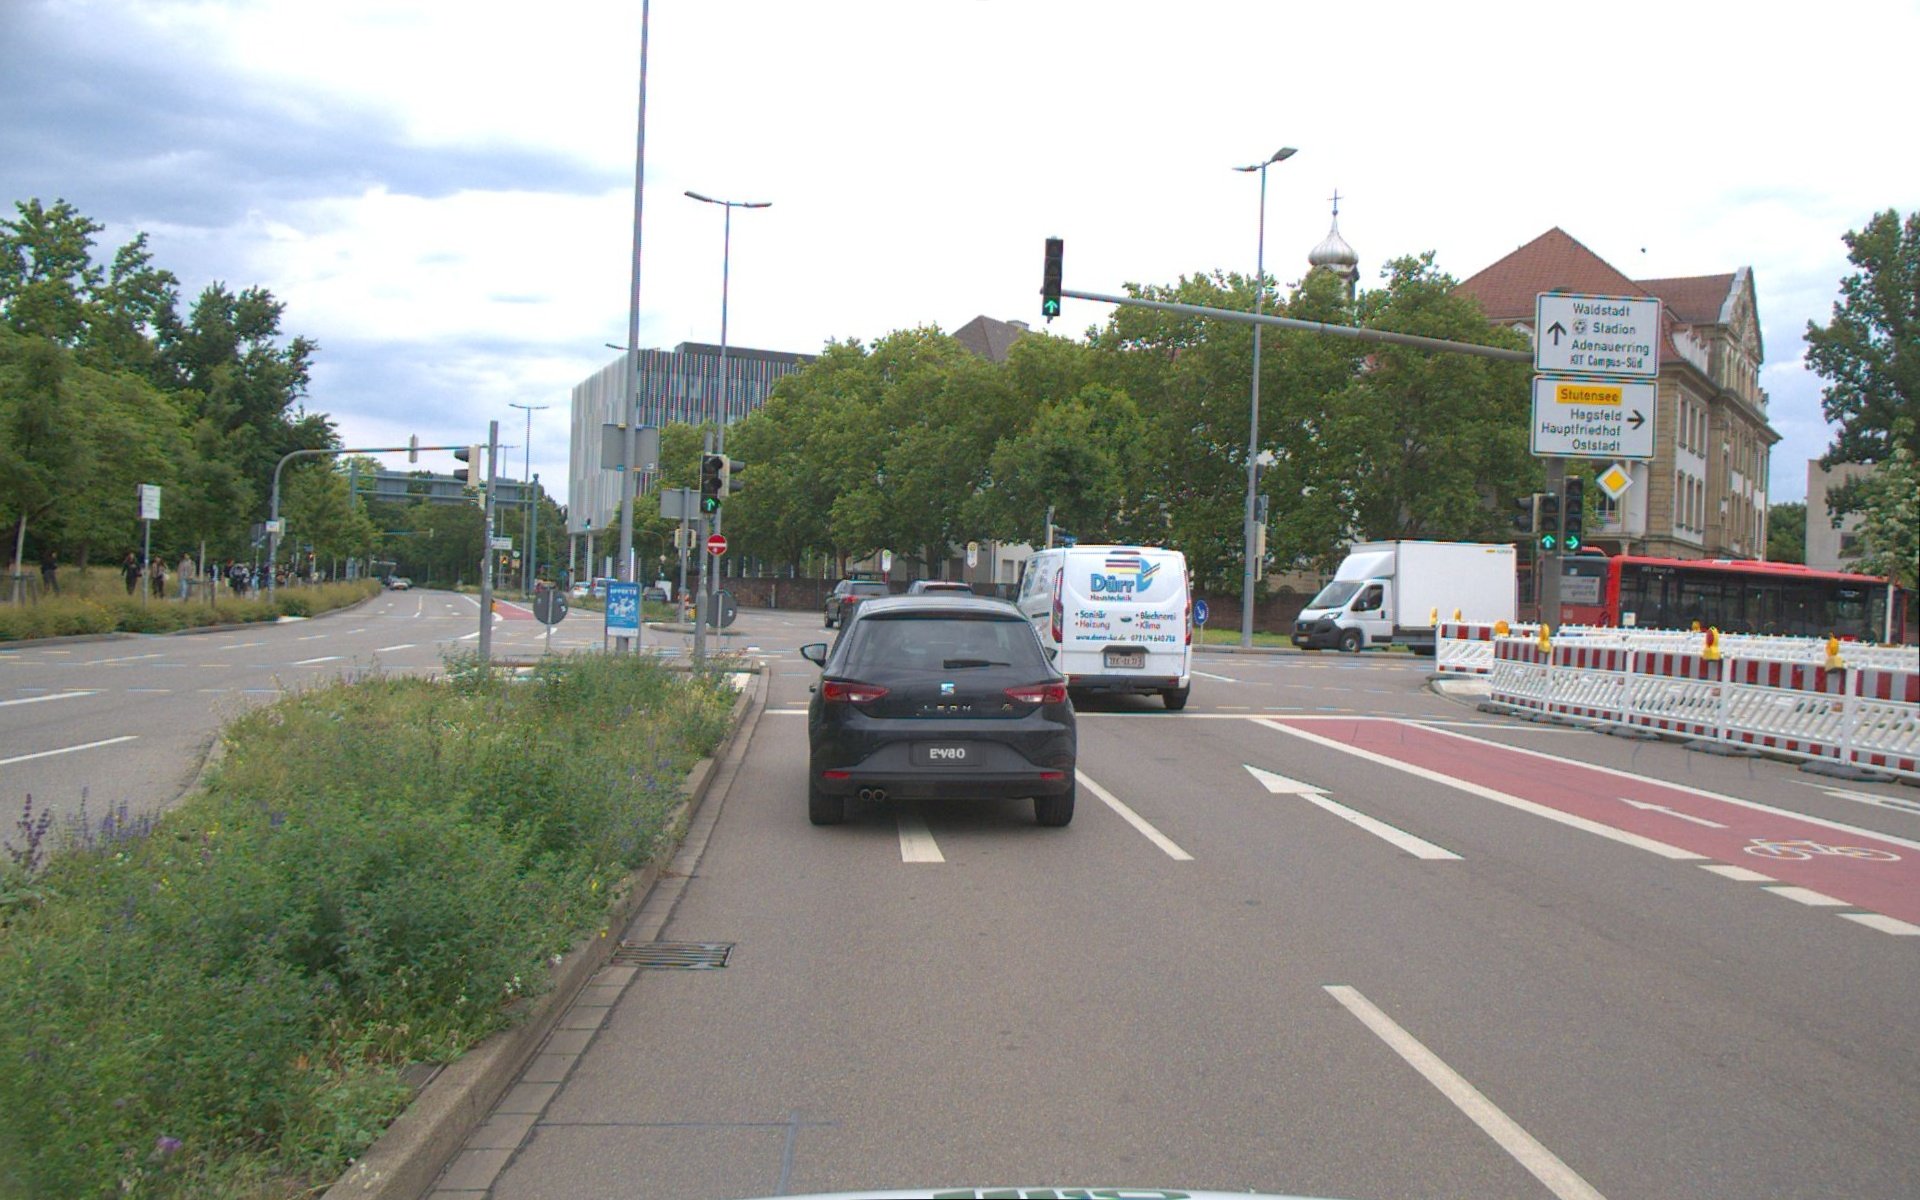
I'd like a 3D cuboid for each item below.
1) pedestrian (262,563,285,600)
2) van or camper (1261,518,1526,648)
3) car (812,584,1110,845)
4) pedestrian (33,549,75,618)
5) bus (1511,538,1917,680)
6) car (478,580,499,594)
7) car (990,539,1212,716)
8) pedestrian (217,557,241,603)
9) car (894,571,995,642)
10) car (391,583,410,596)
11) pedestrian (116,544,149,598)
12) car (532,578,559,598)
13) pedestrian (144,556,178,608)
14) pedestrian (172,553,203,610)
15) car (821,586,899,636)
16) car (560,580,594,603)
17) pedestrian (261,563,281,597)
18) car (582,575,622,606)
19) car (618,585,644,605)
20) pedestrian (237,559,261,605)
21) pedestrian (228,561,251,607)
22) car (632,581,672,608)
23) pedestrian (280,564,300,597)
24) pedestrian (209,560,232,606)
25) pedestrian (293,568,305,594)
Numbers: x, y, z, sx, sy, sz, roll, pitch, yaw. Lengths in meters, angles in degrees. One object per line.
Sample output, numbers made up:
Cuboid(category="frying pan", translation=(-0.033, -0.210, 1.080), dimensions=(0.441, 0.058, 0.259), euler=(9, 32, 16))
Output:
Cuboid(category="pedestrian", translation=(-34.803, -0.945, 83.848), dimensions=(0.904, 1.810, 1.059), euler=(2, 0, -18))
Cuboid(category="van or camper", translation=(12.375, -0.410, 47.157), dimensions=(7.029, 3.390, 2.857), euler=(1, -1, -22))
Cuboid(category="car", translation=(-0.163, 0.692, 11.695), dimensions=(1.712, 1.490, 3.995), euler=(2, -1, -5))
Cuboid(category="pedestrian", translation=(-27.398, -0.485, 50.028), dimensions=(0.741, 2.049, 1.045), euler=(1, 0, -9))
Cuboid(category="bus", translation=(20.386, 0.330, 44.308), dimensions=(12.194, 3.355, 3.041), euler=(2, 0, -28))
Cuboid(category="car", translation=(-46.591, -1.270, 163.382), dimensions=(1.687, 1.287, 3.319), euler=(2, 0, -21))
Cuboid(category="car", translation=(1.730, 0.310, 22.180), dimensions=(1.955, 2.054, 5.024), euler=(2, 0, -7))
Cuboid(category="pedestrian", translation=(-32.818, -0.900, 74.275), dimensions=(0.742, 2.049, 1.043), euler=(1, 0, -13))
Cuboid(category="car", translation=(-0.441, 0.135, 41.065), dimensions=(1.824, 1.628, 4.195), euler=(2, 0, -10))
Cuboid(category="car", translation=(-64.829, -1.193, 191.593), dimensions=(1.665, 1.440, 3.614), euler=(2, 0, -25))
Cuboid(category="pedestrian", translation=(-28.162, -0.985, 56.306), dimensions=(0.741, 1.796, 0.904), euler=(1, 0, -9))
Cuboid(category="car", translation=(-37.641, -1.079, 150.130), dimensions=(1.965, 1.711, 3.987), euler=(2, 0, -20))
Cuboid(category="pedestrian", translation=(-27.405, -0.615, 56.740), dimensions=(0.741, 1.742, 1.045), euler=(1, 0, -9))
Cuboid(category="pedestrian", translation=(-28.058, -0.663, 60.084), dimensions=(0.741, 2.049, 1.045), euler=(1, 0, -9))
Cuboid(category="car", translation=(-3.467, 0.355, 56.648), dimensions=(1.959, 1.593, 4.191), euler=(2, 0, -13))
Cuboid(category="car", translation=(-29.300, -0.667, 126.562), dimensions=(1.965, 1.668, 3.976), euler=(2, 0, -21))
Cuboid(category="pedestrian", translation=(-38.973, -1.143, 93.553), dimensions=(0.904, 1.809, 1.060), euler=(2, 4, -17))
Cuboid(category="car", translation=(-24.978, -0.694, 115.271), dimensions=(1.966, 2.049, 3.973), euler=(2, 0, -23))
Cuboid(category="car", translation=(-24.788, -0.366, 124.652), dimensions=(1.503, 1.389, 2.952), euler=(2, 0, -20))
Cuboid(category="pedestrian", translation=(-32.042, -0.819, 74.537), dimensions=(0.742, 2.049, 1.043), euler=(1, 0, -13))
Cuboid(category="pedestrian", translation=(-30.458, -0.668, 69.905), dimensions=(0.701, 1.902, 0.755), euler=(1, 0, -13))
Cuboid(category="car", translation=(-21.168, -0.385, 113.617), dimensions=(1.891, 1.713, 3.972), euler=(2, 0, -23))
Cuboid(category="pedestrian", translation=(-38.031, -1.111, 93.859), dimensions=(0.904, 1.809, 1.060), euler=(2, 5, -18))
Cuboid(category="pedestrian", translation=(-31.192, -0.709, 69.793), dimensions=(0.701, 1.902, 0.755), euler=(1, 0, -13))
Cuboid(category="pedestrian", translation=(-52.687, -1.500, 131.739), dimensions=(0.709, 2.049, 0.780), euler=(2, 0, -12))
